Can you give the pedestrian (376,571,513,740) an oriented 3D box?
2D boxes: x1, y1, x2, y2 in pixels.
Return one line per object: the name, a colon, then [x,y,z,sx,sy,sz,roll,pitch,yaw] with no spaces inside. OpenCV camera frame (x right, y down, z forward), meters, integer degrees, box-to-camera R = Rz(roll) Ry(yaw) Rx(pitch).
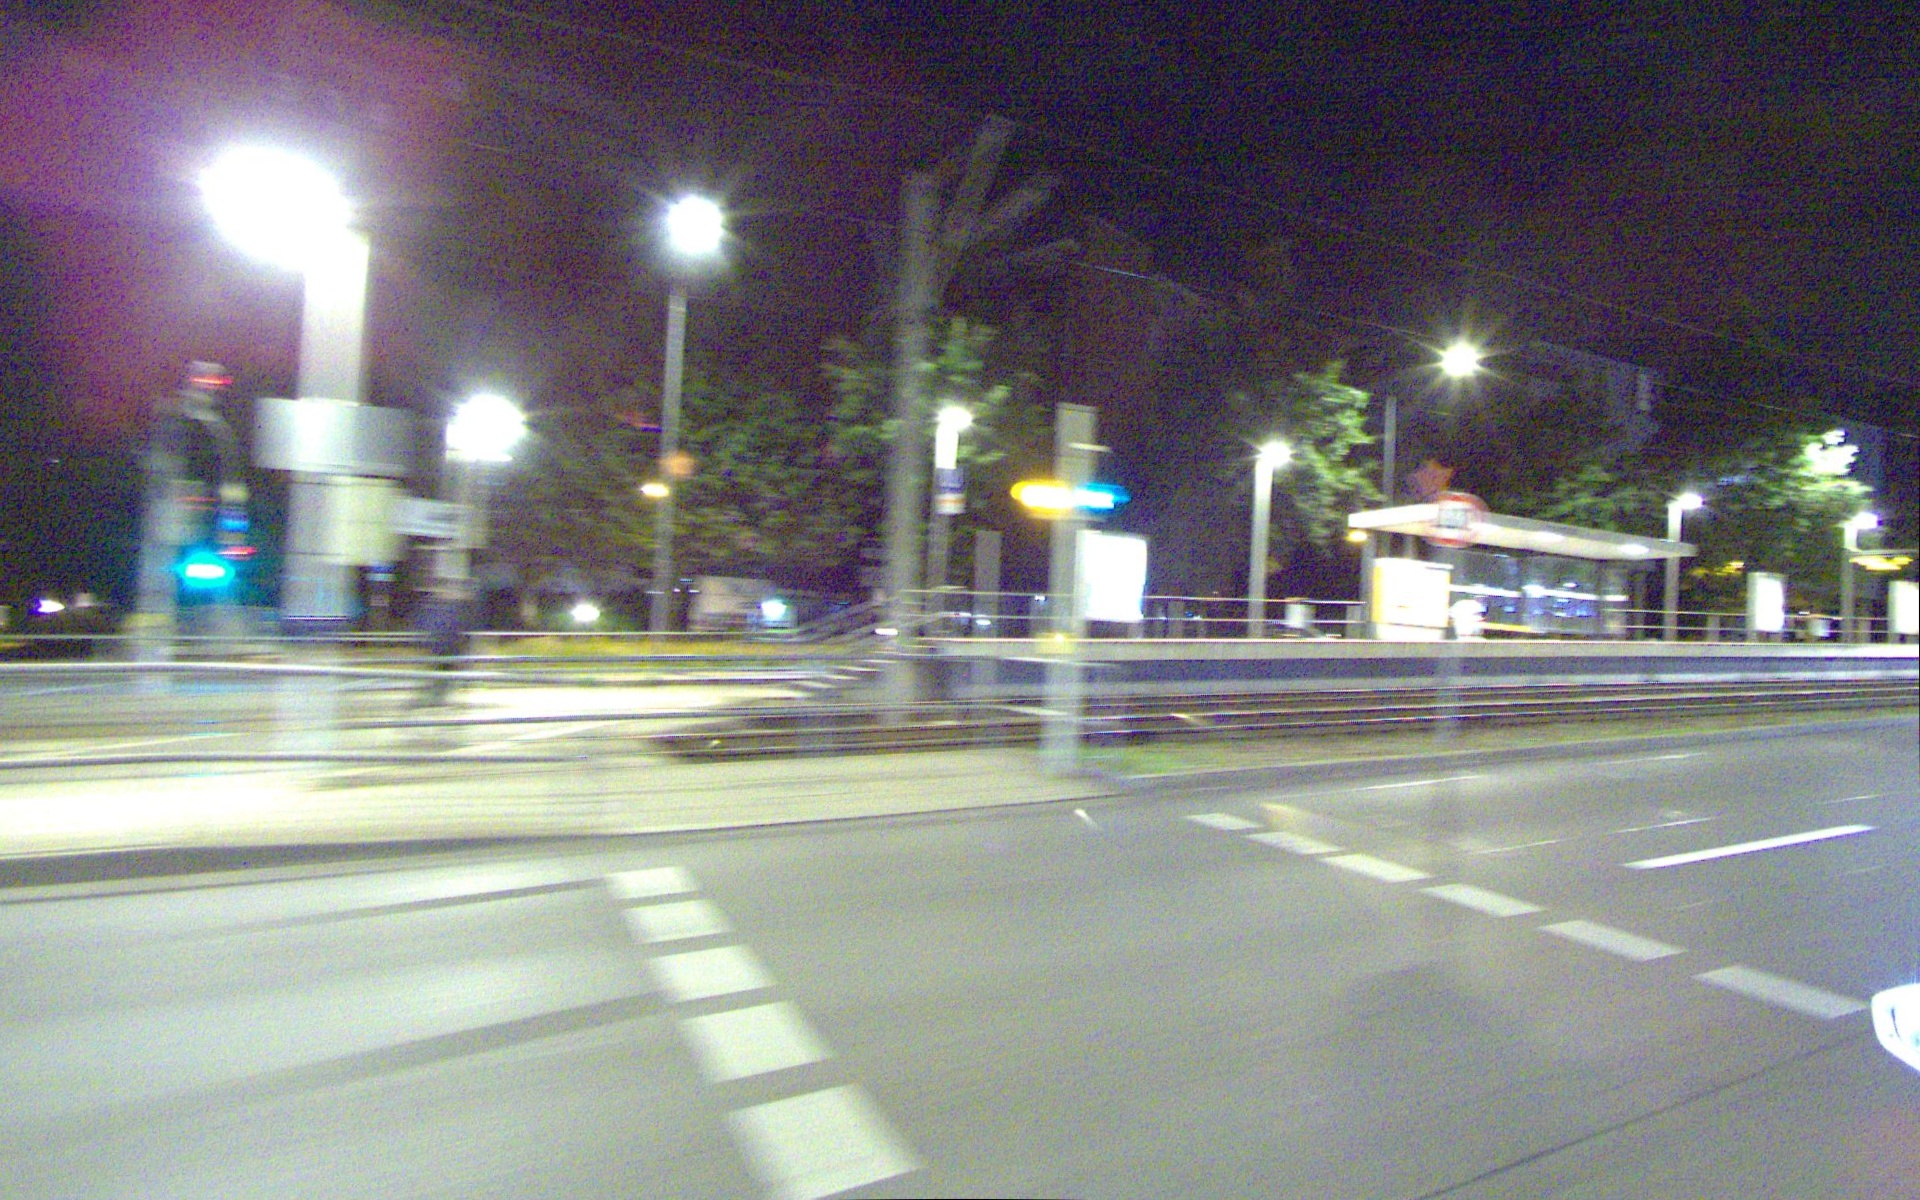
pedestrian: [-5.491,0.583,10.762,0.804,1.710,1.057,0,-2,9]
